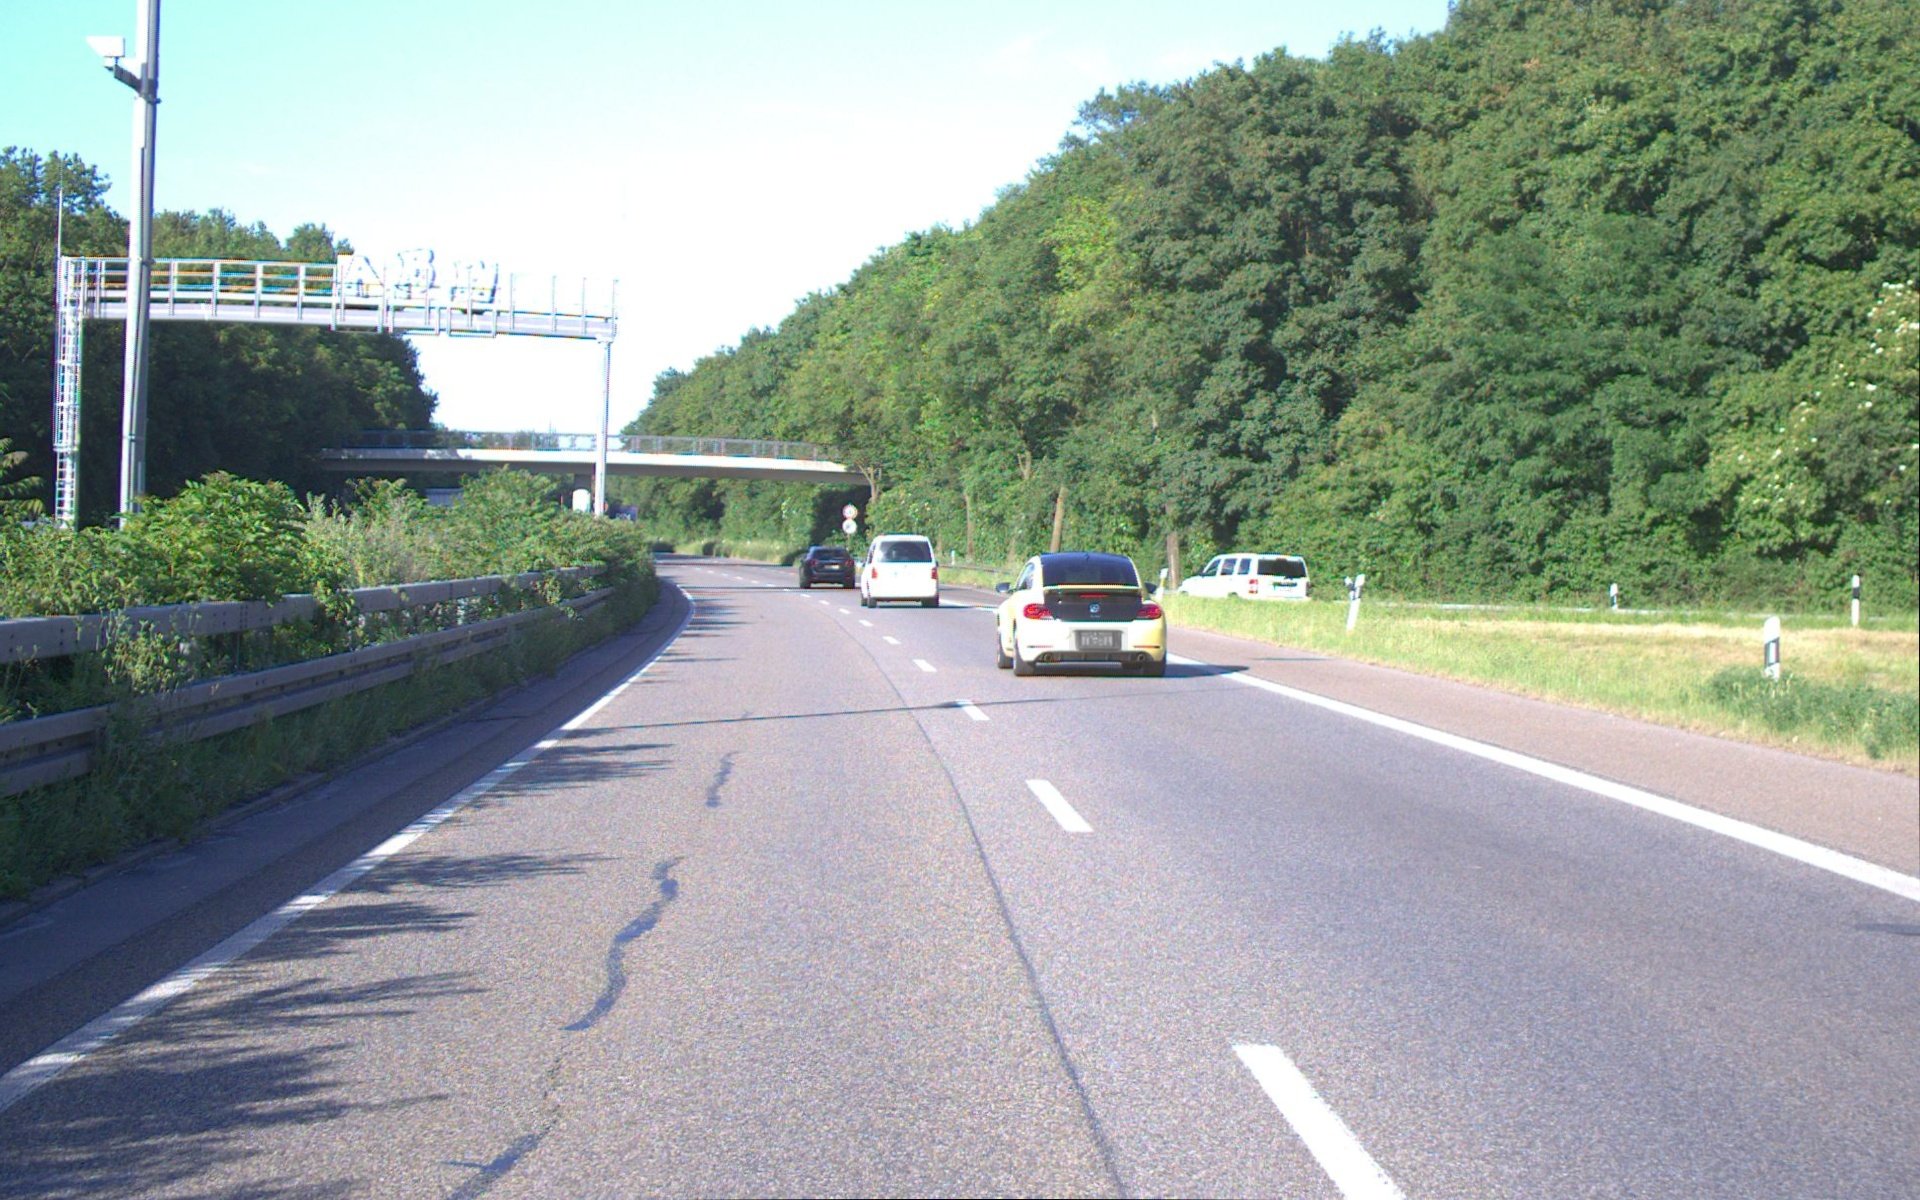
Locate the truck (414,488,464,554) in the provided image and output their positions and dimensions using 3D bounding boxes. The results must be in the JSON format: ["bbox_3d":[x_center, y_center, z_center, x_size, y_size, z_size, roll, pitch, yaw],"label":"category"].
[{"bbox_3d":[-32.676,-4.951,215.843,2.737,4.013,6.181,2,1,-7],"label":"truck"}]

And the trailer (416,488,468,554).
[{"bbox_3d":[-33.470,-5.078,222.471,2.737,4.013,14.078,2,1,-7],"label":"trailer"}]

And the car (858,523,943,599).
[{"bbox_3d":[-1.496,-0.953,85.523,1.897,1.761,4.000,0,-1,-4],"label":"car"}]

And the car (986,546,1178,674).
[{"bbox_3d":[1.429,0.087,41.666,1.897,1.466,4.001,0,1,-4],"label":"car"}]

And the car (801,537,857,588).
[{"bbox_3d":[-4.607,-1.328,120.729,1.897,1.761,4.000,0,1,-2],"label":"car"}]

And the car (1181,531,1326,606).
[{"bbox_3d":[7.228,-0.792,85.045,1.896,1.817,4.001,0,1,-23],"label":"car"}]
